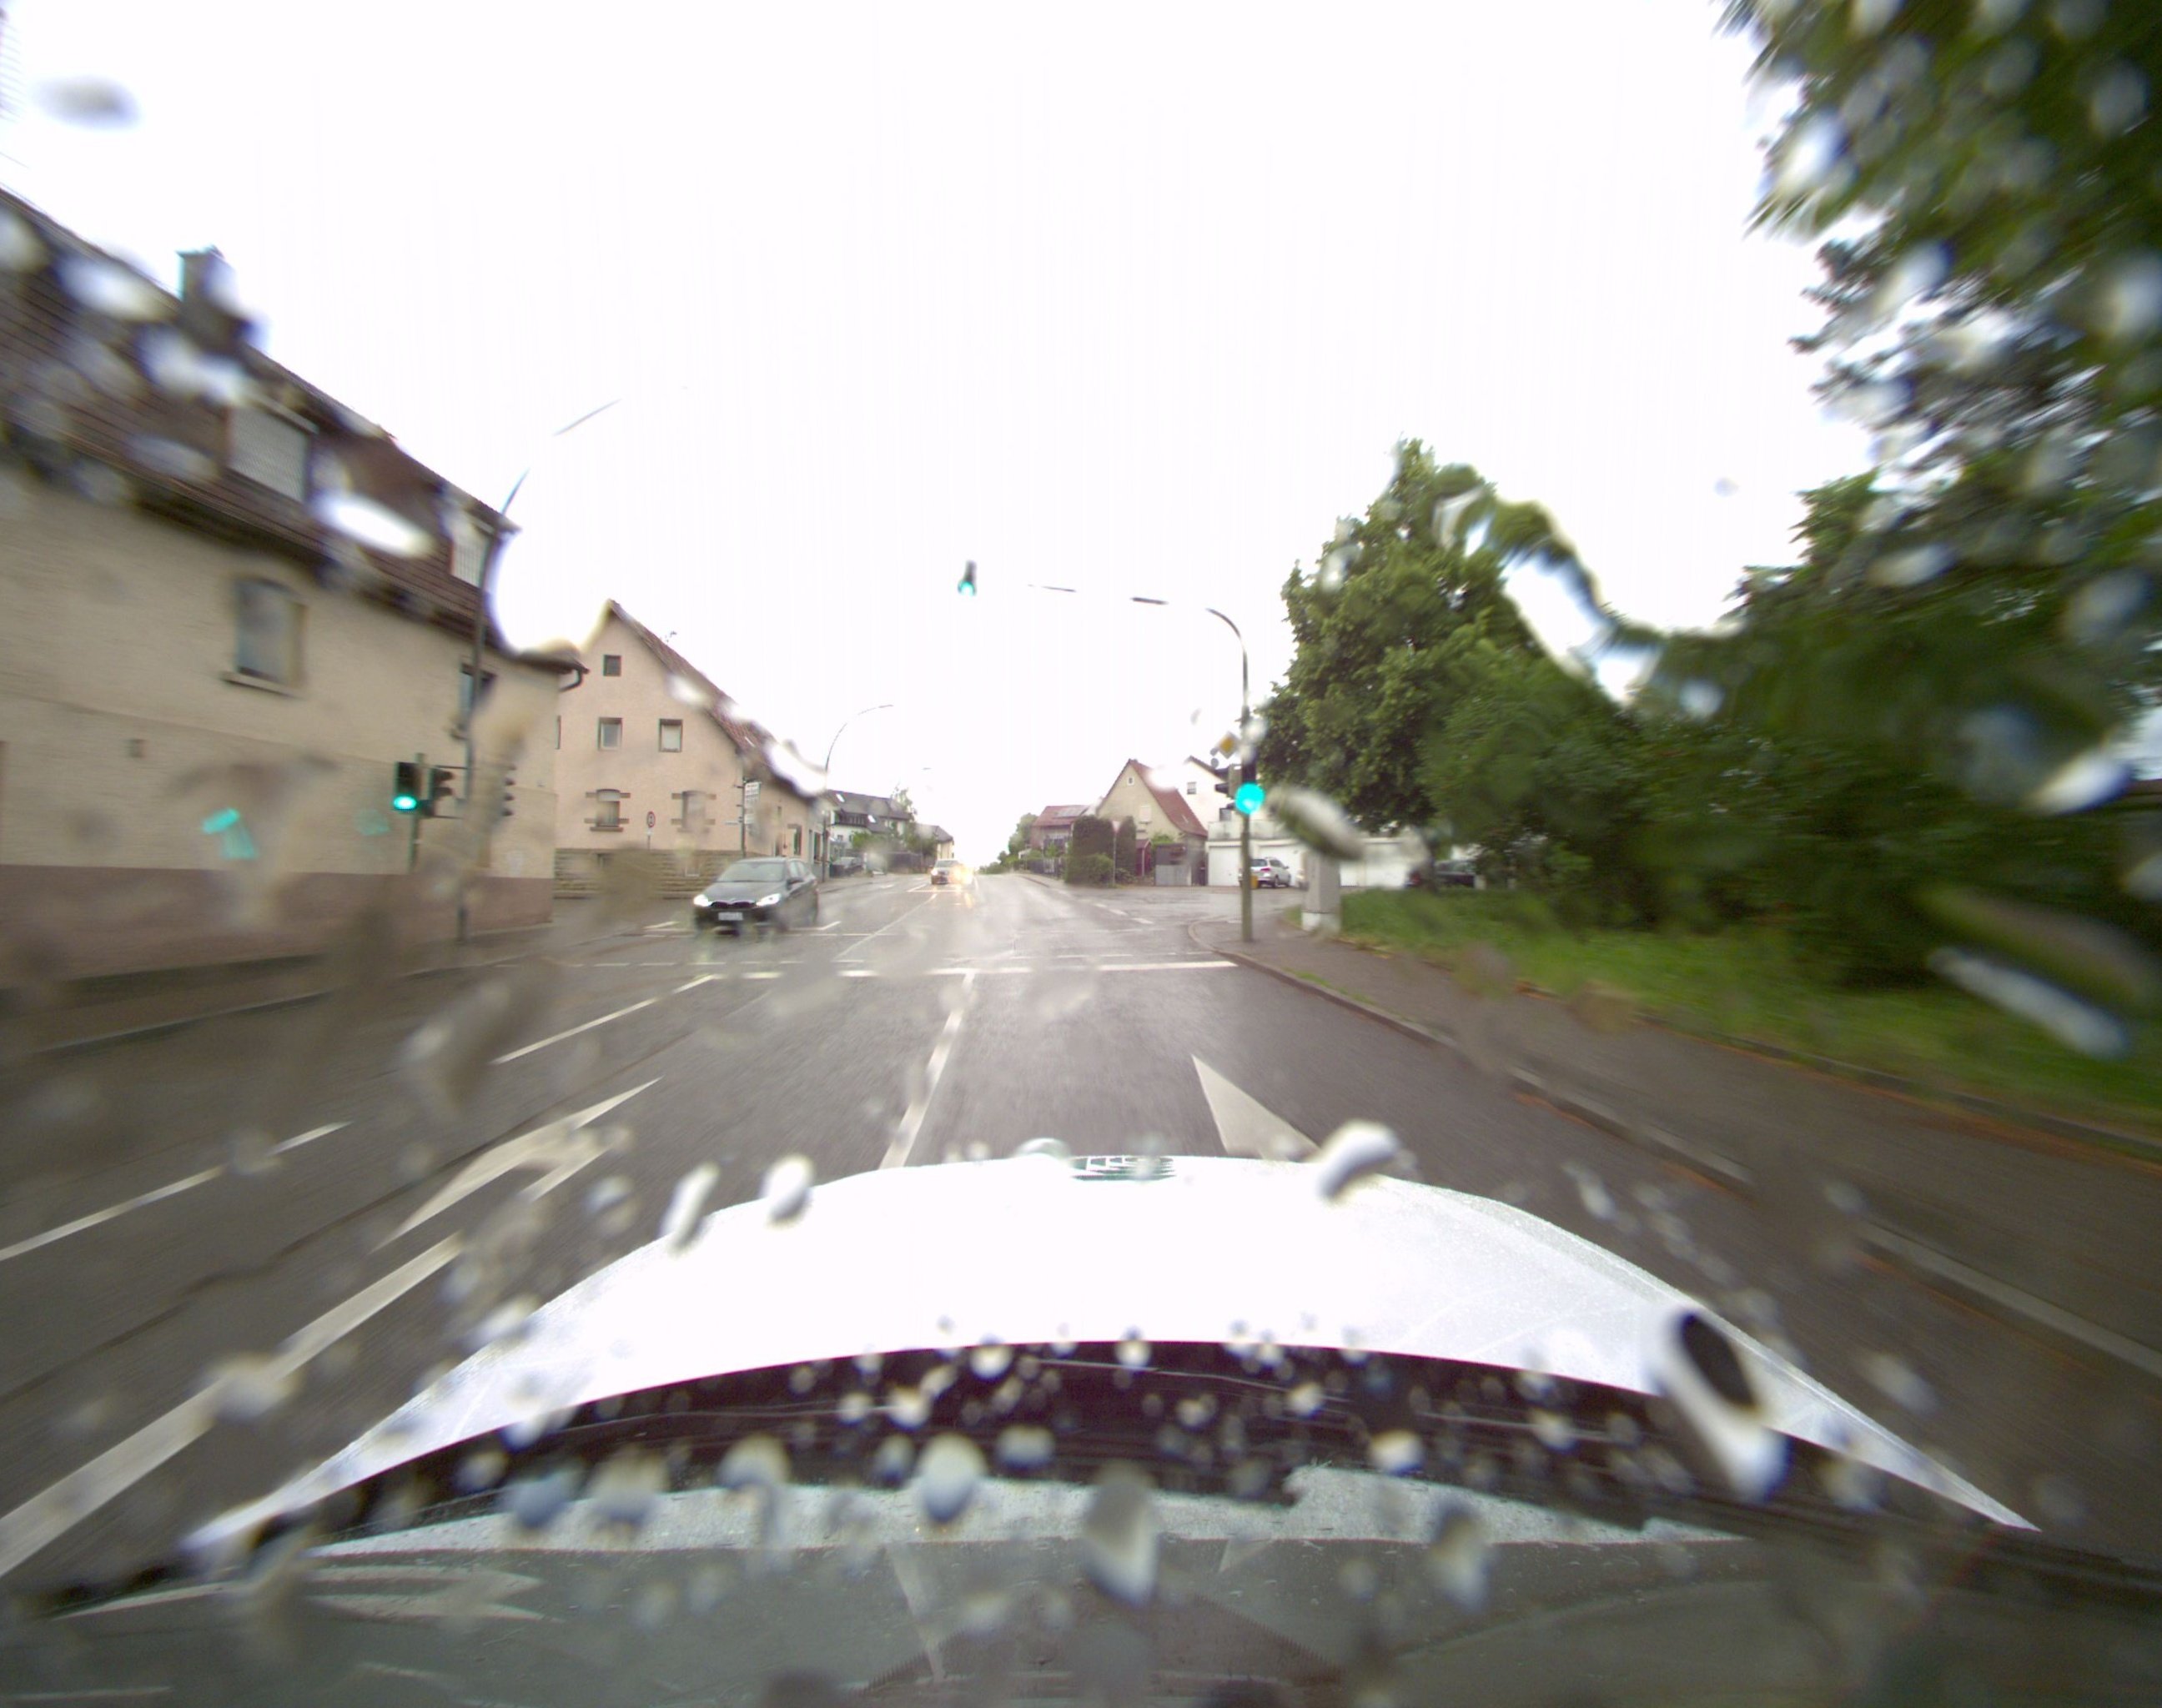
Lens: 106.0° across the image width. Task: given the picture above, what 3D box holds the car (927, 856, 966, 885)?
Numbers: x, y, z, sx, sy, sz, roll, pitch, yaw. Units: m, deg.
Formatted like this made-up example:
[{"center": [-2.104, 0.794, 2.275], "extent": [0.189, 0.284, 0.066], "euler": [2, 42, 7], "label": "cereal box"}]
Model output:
[{"center": [-7.892, 0.938, 47.485], "extent": [1.946, 1.574, 4.207], "euler": [-1, 0, -13], "label": "car"}]

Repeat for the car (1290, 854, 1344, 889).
[{"center": [11.323, 0.784, 38.941], "extent": [1.976, 1.530, 4.022], "euler": [-2, 0, 23], "label": "car"}]

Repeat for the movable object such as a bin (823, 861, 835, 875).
[{"center": [-17.778, 0.987, 57.506], "extent": [0.635, 1.032, 0.606], "euler": [-1, -1, 6], "label": "movable object such as a bin"}]

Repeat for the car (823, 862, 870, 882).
[{"center": [-18.241, 1.386, 63.510], "extent": [1.889, 1.442, 3.839], "euler": [2, 0, 11], "label": "car"}]

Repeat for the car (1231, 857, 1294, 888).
[{"center": [8.987, 0.885, 39.982], "extent": [1.975, 1.398, 4.176], "euler": [-2, 0, 27], "label": "car"}]

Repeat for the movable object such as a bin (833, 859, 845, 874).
[{"center": [-17.062, 0.910, 57.434], "extent": [0.635, 1.032, 0.674], "euler": [-1, -1, 6], "label": "movable object such as a bin"}]

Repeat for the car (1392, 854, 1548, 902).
[{"center": [12.327, 0.730, 26.043], "extent": [4.152, 1.442, 1.837], "euler": [0, 0, 7], "label": "car"}]

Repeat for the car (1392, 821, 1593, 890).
[{"center": [9.599, 0.070, 19.338], "extent": [3.957, 1.455, 1.862], "euler": [-2, -1, 15], "label": "car"}]

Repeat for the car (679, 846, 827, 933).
[{"center": [-7.167, 0.718, 18.277], "extent": [1.991, 1.706, 3.992], "euler": [-1, 0, -6], "label": "car"}]
